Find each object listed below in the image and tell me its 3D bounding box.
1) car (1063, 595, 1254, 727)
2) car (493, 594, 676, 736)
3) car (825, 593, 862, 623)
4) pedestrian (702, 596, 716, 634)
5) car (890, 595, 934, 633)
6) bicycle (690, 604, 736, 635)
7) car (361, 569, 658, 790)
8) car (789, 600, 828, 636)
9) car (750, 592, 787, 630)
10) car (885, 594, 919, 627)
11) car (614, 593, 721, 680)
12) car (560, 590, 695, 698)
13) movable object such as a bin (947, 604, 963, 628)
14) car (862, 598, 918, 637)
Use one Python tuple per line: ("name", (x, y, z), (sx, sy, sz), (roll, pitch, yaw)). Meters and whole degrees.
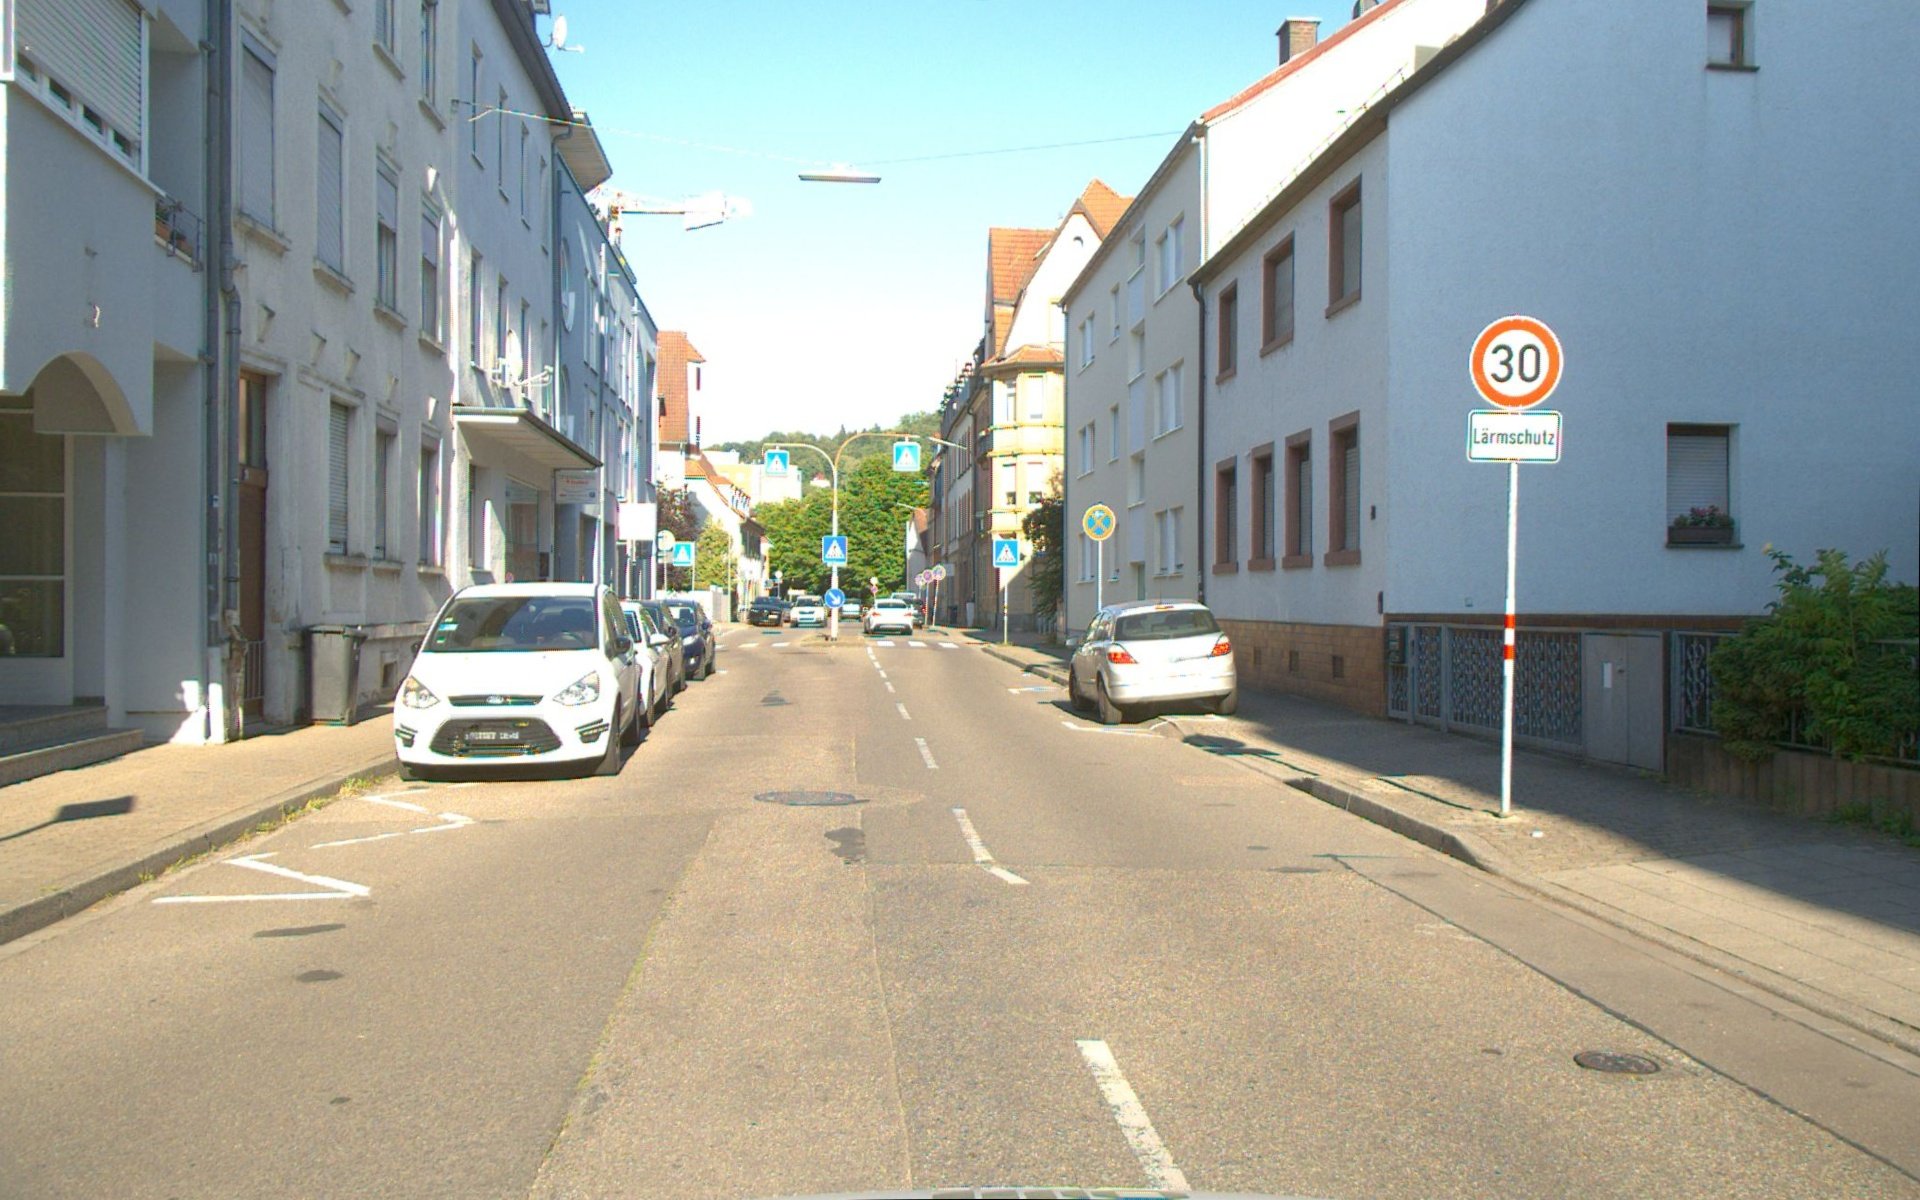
("car", (2.522, 0.732, 22.034), (1.707, 1.518, 4.435), (-2, 0, -4))
("car", (-4.613, 0.727, 20.853), (1.731, 1.522, 4.120), (-2, 0, -6))
("car", (-8.223, 0.548, 116.537), (1.959, 2.049, 3.986), (-1, 0, -14))
("pedestrian", (-10.016, 0.601, 66.050), (0.546, 1.498, 0.600), (-1, 0, -8))
("car", (-2.539, 0.708, 86.445), (1.972, 1.885, 3.995), (1, 0, -6))
("bicycle", (-9.830, 0.765, 65.730), (1.751, 1.205, 0.598), (-1, 0, -4))
("car", (-3.925, 0.600, 15.313), (1.956, 1.676, 5.213), (0, 0, -8))
("car", (-7.966, 0.910, 86.620), (1.774, 1.731, 4.184), (-2, 0, -8))
("car", (-10.583, 0.570, 91.423), (1.955, 2.049, 3.995), (0, 0, -6))
("car", (-3.615, 0.622, 102.782), (1.805, 1.939, 3.996), (-1, 1, -5))
("car", (-5.532, 0.675, 31.635), (1.697, 1.525, 3.954), (-1, -1, -6))
("car", (-5.113, 0.677, 25.833), (1.628, 1.553, 3.804), (0, -1, -5))
("movable object such as a bin", (-0.309, 0.943, 97.560), (0.854, 1.401, 0.684), (-2, 1, -5))
("car", (-2.875, 0.685, 66.997), (1.956, 1.492, 3.994), (-1, 0, -7))
